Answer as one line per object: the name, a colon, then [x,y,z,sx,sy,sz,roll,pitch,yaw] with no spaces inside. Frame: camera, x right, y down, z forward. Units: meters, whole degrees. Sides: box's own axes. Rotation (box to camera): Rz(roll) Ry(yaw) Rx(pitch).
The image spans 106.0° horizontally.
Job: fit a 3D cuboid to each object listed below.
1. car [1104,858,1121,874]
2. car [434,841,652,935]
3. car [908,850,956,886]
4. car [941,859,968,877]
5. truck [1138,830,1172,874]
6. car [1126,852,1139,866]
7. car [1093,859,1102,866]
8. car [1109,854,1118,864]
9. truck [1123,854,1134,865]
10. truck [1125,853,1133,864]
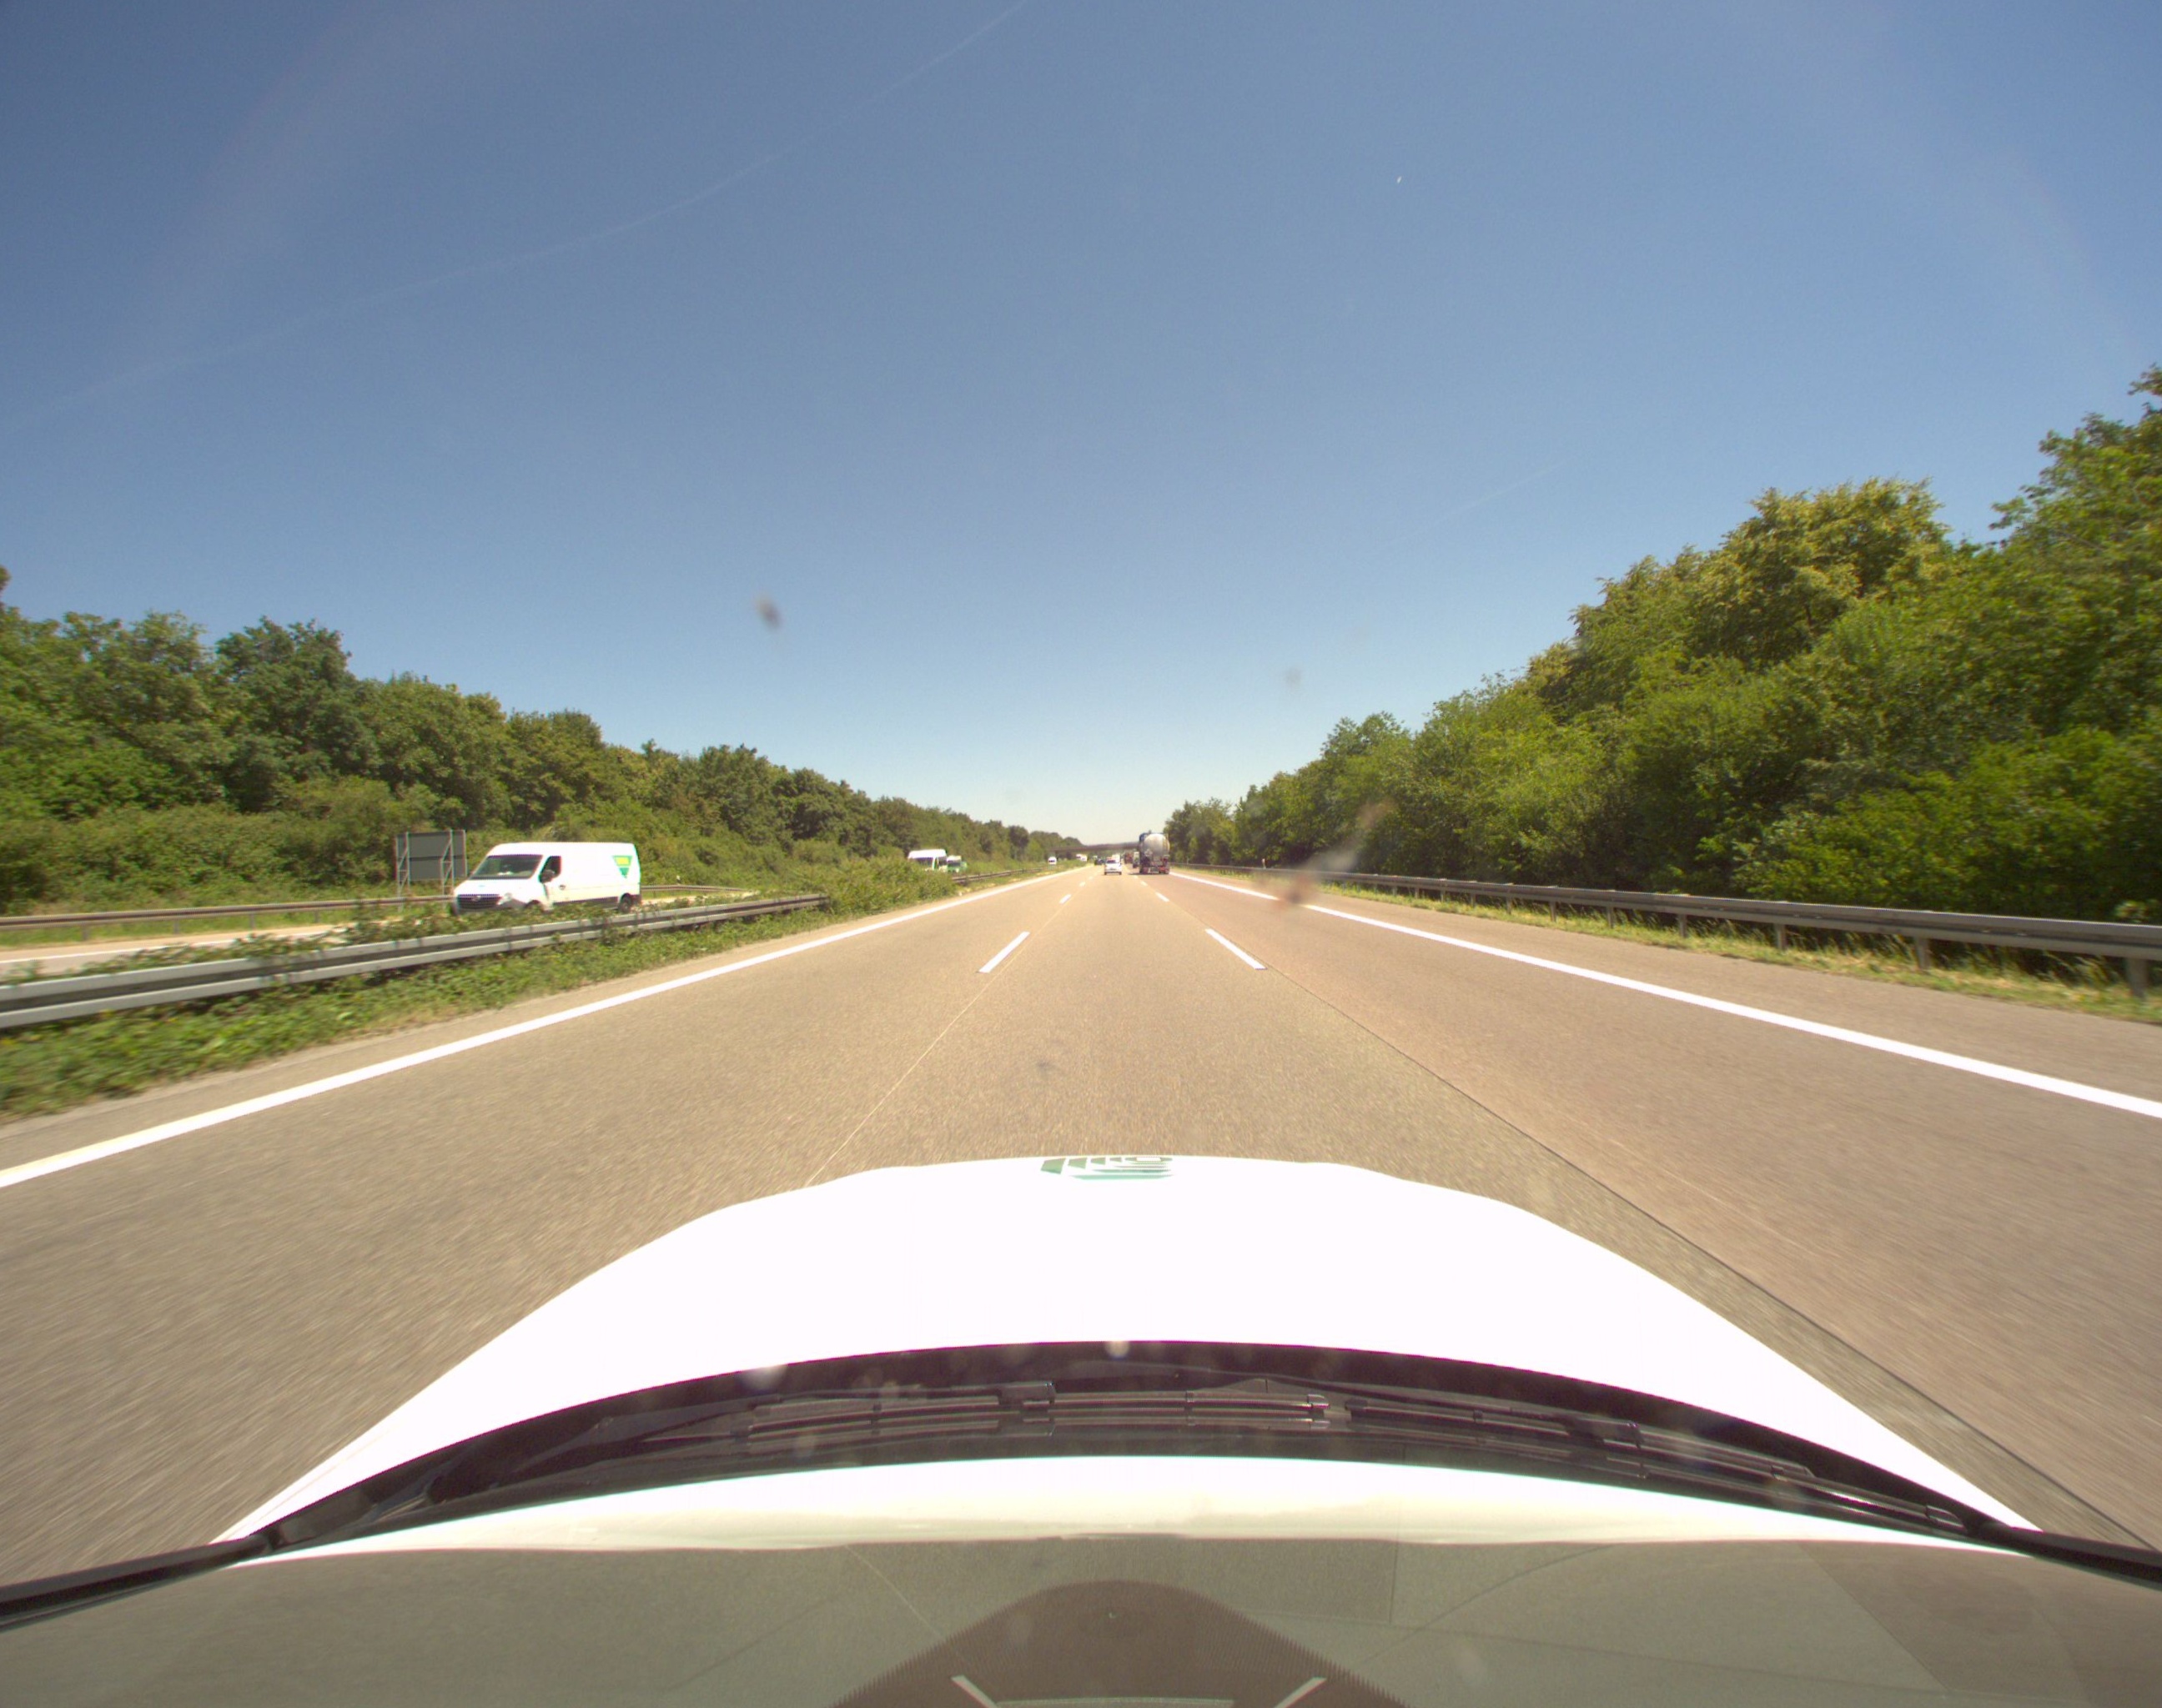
car: [3.070,1.143,79.790,1.621,1.479,4.002,-1,0,2]
car: [-16.064,0.910,24.969,2.206,2.441,6.421,-2,0,2]
car: [-10.551,0.971,58.111,1.985,2.400,6.169,-2,0,3]
car: [-13.762,1.522,88.941,1.986,1.878,5.461,-2,0,1]
truck: [7.275,-0.123,81.233,2.728,4.052,10.459,-1,0,2]
car: [8.383,0.775,133.165,1.986,2.225,4.788,-1,0,2]
car: [4.091,2.098,197.913,1.986,1.725,4.788,-1,0,2]
car: [7.909,1.162,195.583,1.985,2.343,4.391,-1,0,3]
truck: [13.655,1.636,233.669,2.903,3.240,6.347,-1,-1,2]
truck: [14.405,1.504,244.130,2.281,3.240,6.347,-1,-1,2]
